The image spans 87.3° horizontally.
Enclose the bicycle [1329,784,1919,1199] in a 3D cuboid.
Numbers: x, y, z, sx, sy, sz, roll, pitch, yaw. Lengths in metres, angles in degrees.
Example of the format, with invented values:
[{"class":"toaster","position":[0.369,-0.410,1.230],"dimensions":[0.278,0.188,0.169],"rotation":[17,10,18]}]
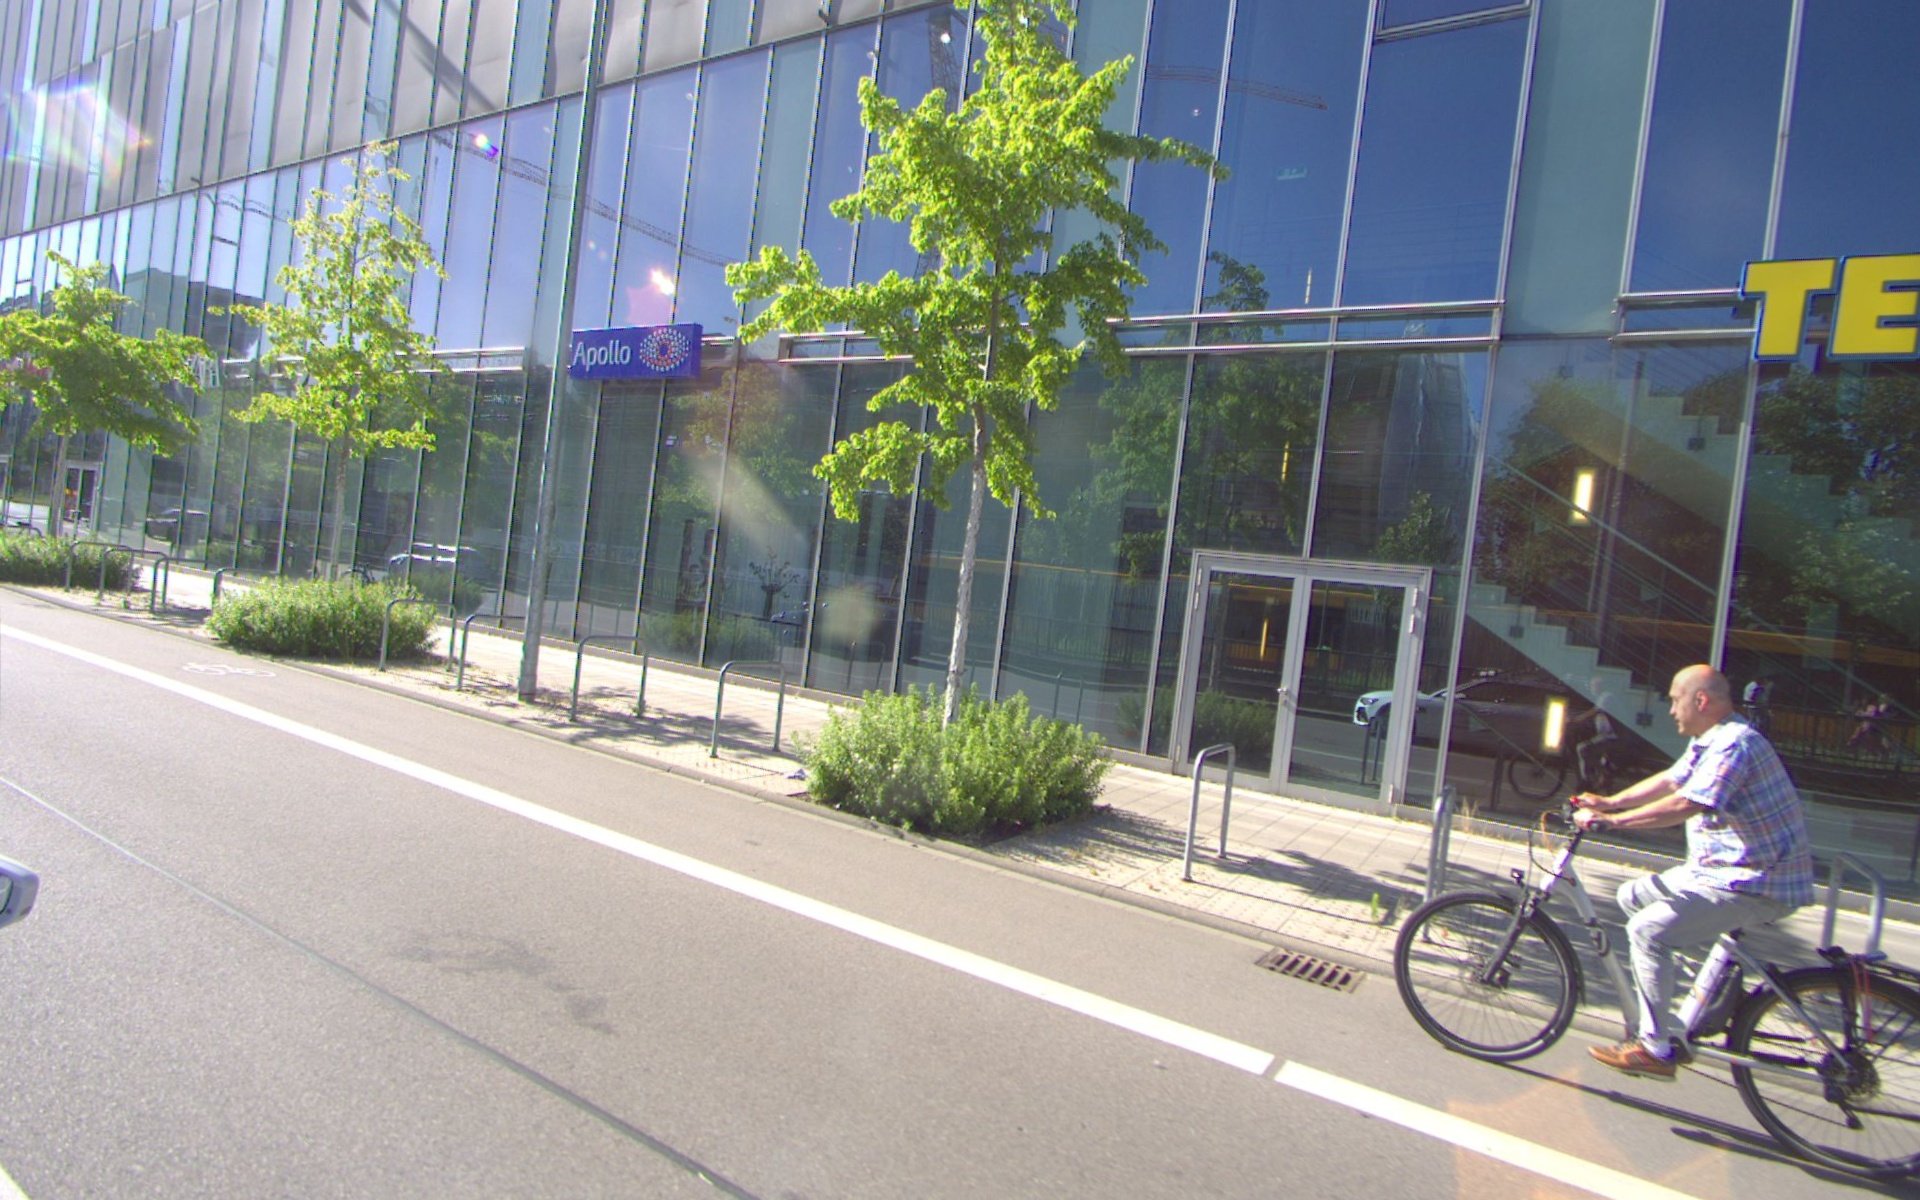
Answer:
[{"class":"bicycle","position":[2.760,1.450,3.952],"dimensions":[2.293,0.994,0.731],"rotation":[7,-3,28]}]

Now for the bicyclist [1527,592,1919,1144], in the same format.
[{"class":"bicyclist","position":[2.877,0.917,3.900],"dimensions":[0.980,1.758,0.726],"rotation":[7,1,28]}]

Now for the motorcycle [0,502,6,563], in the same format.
[{"class":"motorcycle","position":[-22.568,-1.596,22.209],"dimensions":[2.059,1.371,0.646],"rotation":[4,2,-36]}]

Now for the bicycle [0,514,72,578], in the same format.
[{"class":"bicycle","position":[-18.771,-1.083,19.726],"dimensions":[0.659,1.166,1.886],"rotation":[7,1,22]}]
